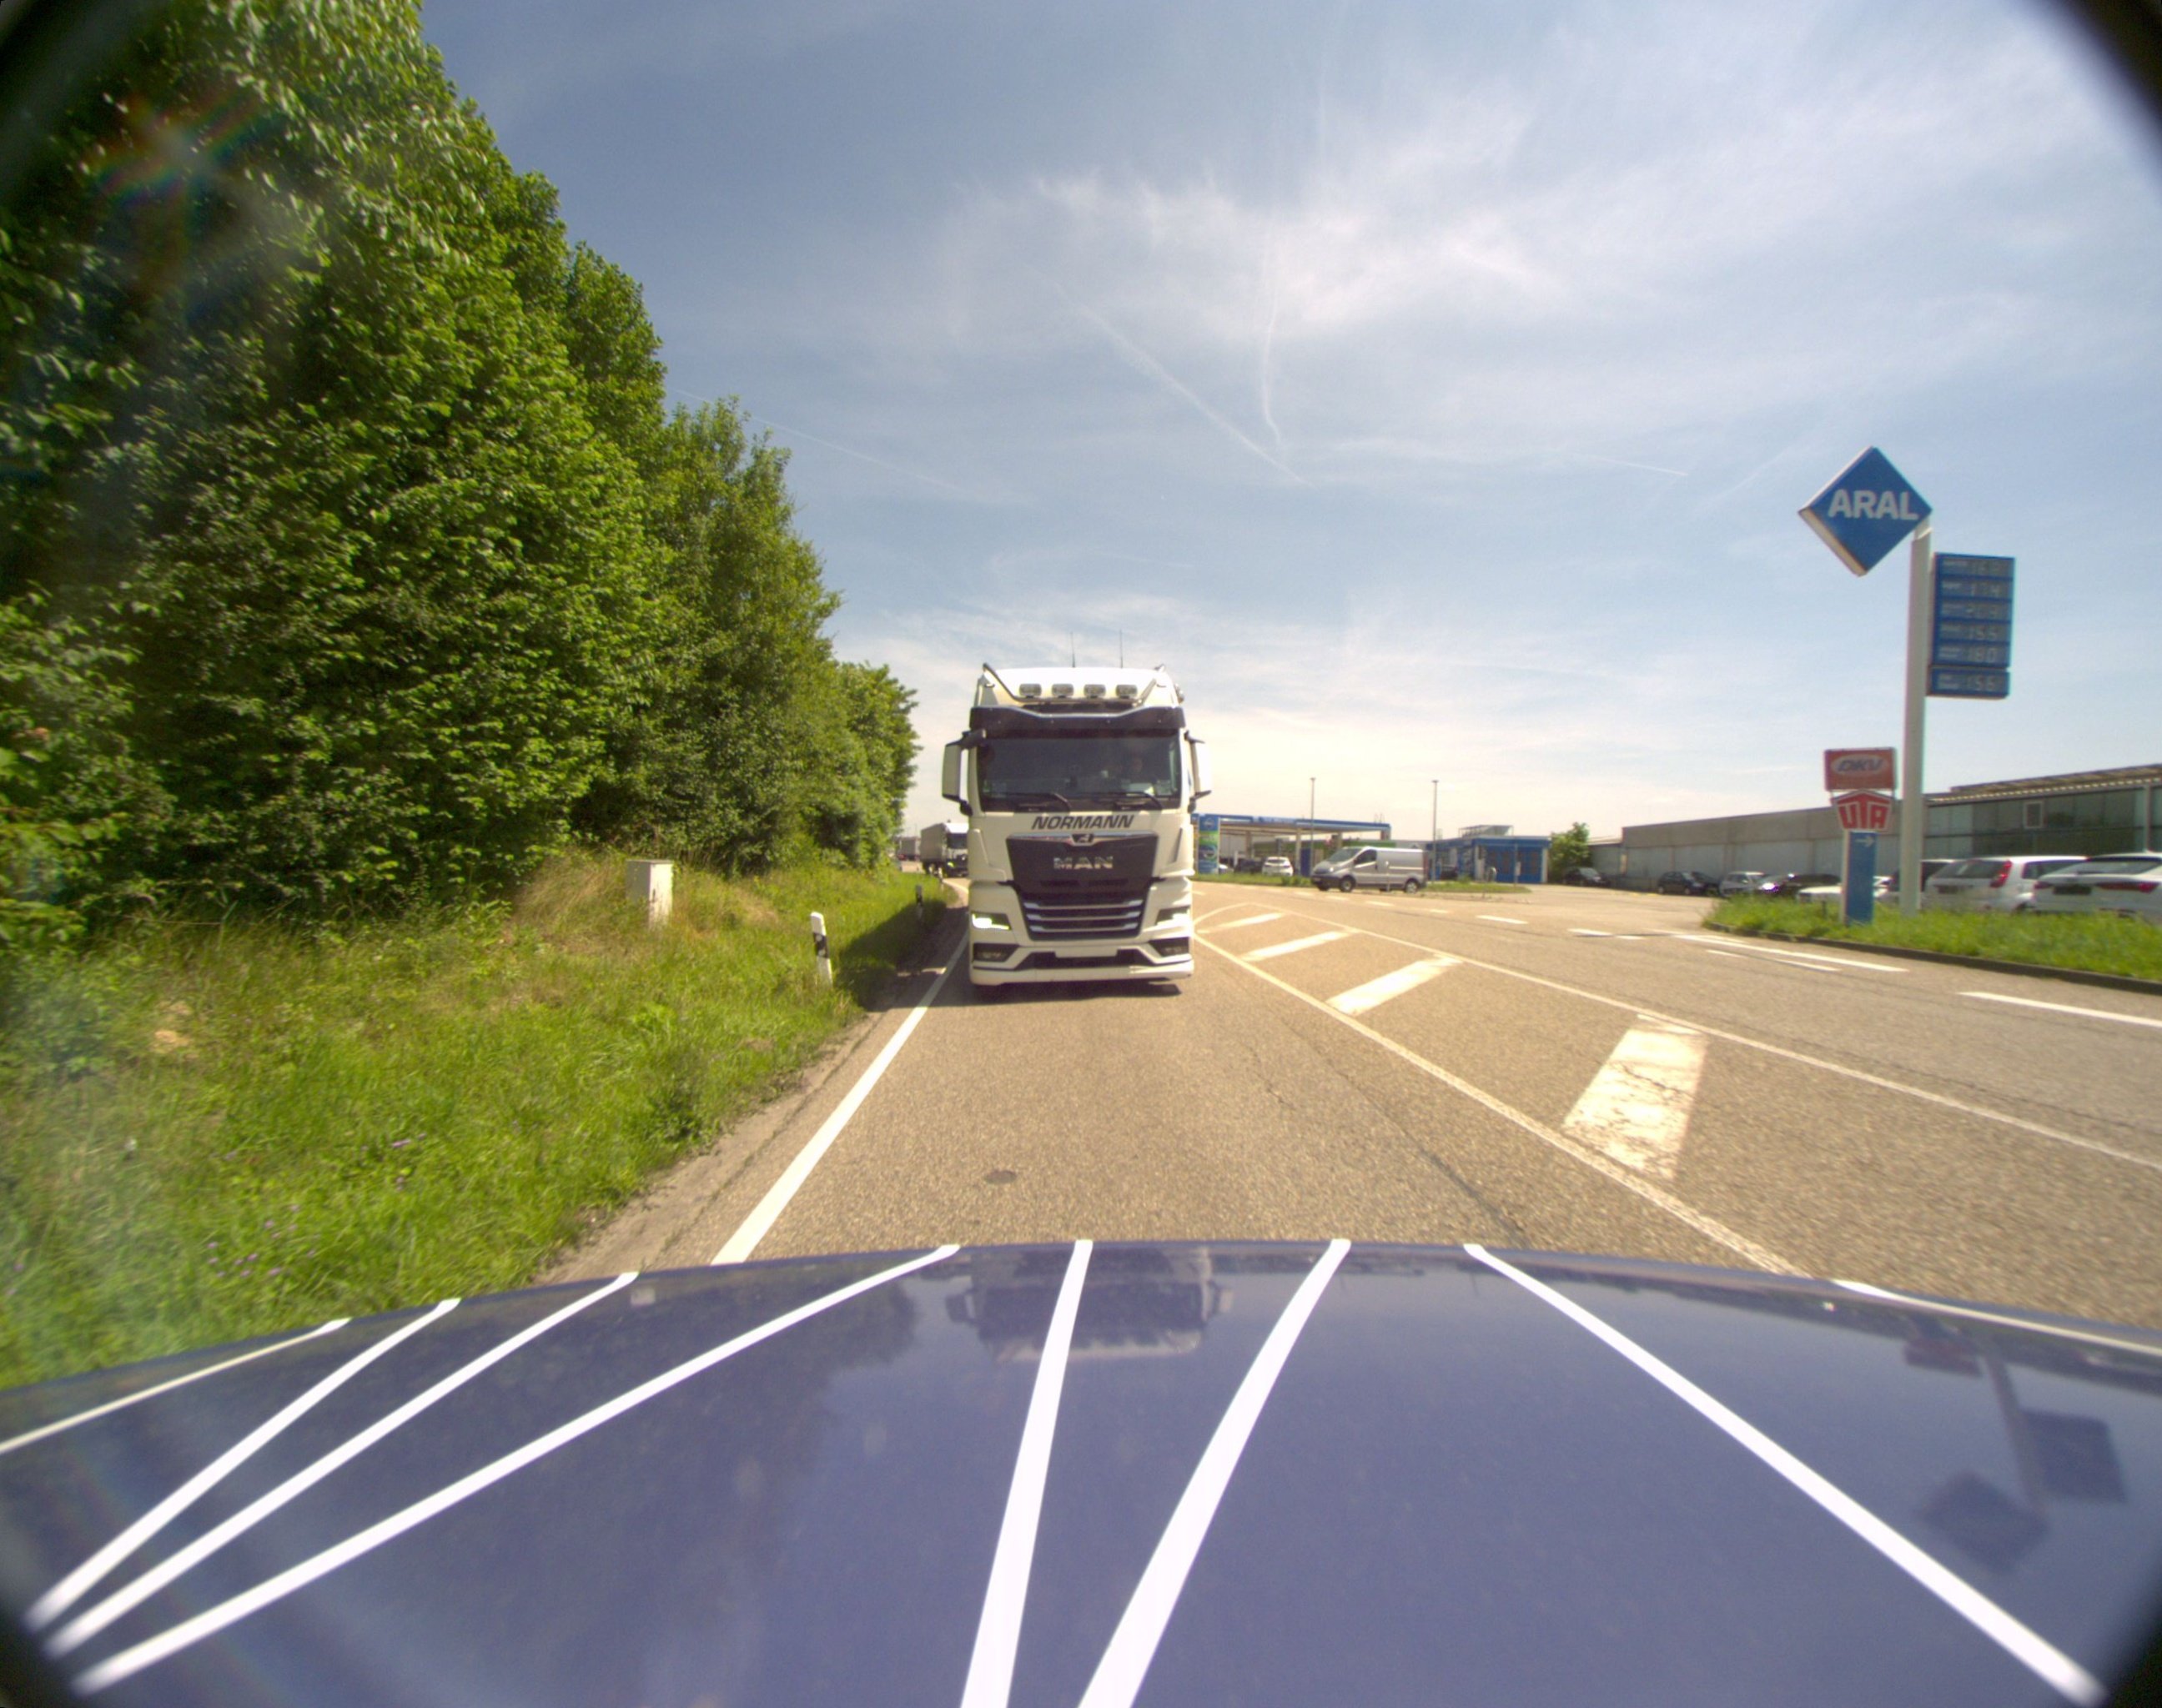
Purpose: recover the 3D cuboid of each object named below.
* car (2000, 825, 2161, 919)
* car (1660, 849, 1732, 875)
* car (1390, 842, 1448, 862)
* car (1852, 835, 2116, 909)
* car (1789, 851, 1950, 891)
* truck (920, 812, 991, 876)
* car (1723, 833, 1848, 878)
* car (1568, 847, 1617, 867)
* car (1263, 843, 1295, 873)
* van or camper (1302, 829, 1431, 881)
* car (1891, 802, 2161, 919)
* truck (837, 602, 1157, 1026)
[{"bbox_3d":[17.632,0.249,11.645,4.244,1.351,2.001,0,1,9],"label":"car"},{"bbox_3d":[36.106,0.455,44.749,1.757,1.433,3.904,0,0,13],"label":"car"},{"bbox_3d":[28.502,-0.174,64.068,3.997,1.598,1.946,-2,1,-1],"label":"car"},{"bbox_3d":[19.266,0.349,16.363,3.449,1.433,1.564,2,1,8],"label":"car"},{"bbox_3d":[31.069,0.647,30.085,3.994,1.434,2.001,1,1,9],"label":"car"},{"bbox_3d":[-10.553,-0.726,61.841,2.985,4.446,16.426,-2,1,-18],"label":"truck"},{"bbox_3d":[32.448,0.062,35.116,3.994,2.002,1.599,0,1,10],"label":"car"},{"bbox_3d":[38.190,0.192,56.875,1.757,1.433,3.904,0,0,13],"label":"car"},{"bbox_3d":[12.491,0.209,47.851,1.865,1.702,4.523,0,2,15],"label":"car"},{"bbox_3d":[12.095,0.038,32.224,4.867,1.893,1.901,3,0,-16],"label":"van or camper"},{"bbox_3d":[18.471,0.097,14.314,3.994,2.002,2.001,-2,1,9],"label":"car"},{"bbox_3d":[-0.811,-0.663,16.336,2.981,4.071,17.627,-2,2,0],"label":"truck"}]
